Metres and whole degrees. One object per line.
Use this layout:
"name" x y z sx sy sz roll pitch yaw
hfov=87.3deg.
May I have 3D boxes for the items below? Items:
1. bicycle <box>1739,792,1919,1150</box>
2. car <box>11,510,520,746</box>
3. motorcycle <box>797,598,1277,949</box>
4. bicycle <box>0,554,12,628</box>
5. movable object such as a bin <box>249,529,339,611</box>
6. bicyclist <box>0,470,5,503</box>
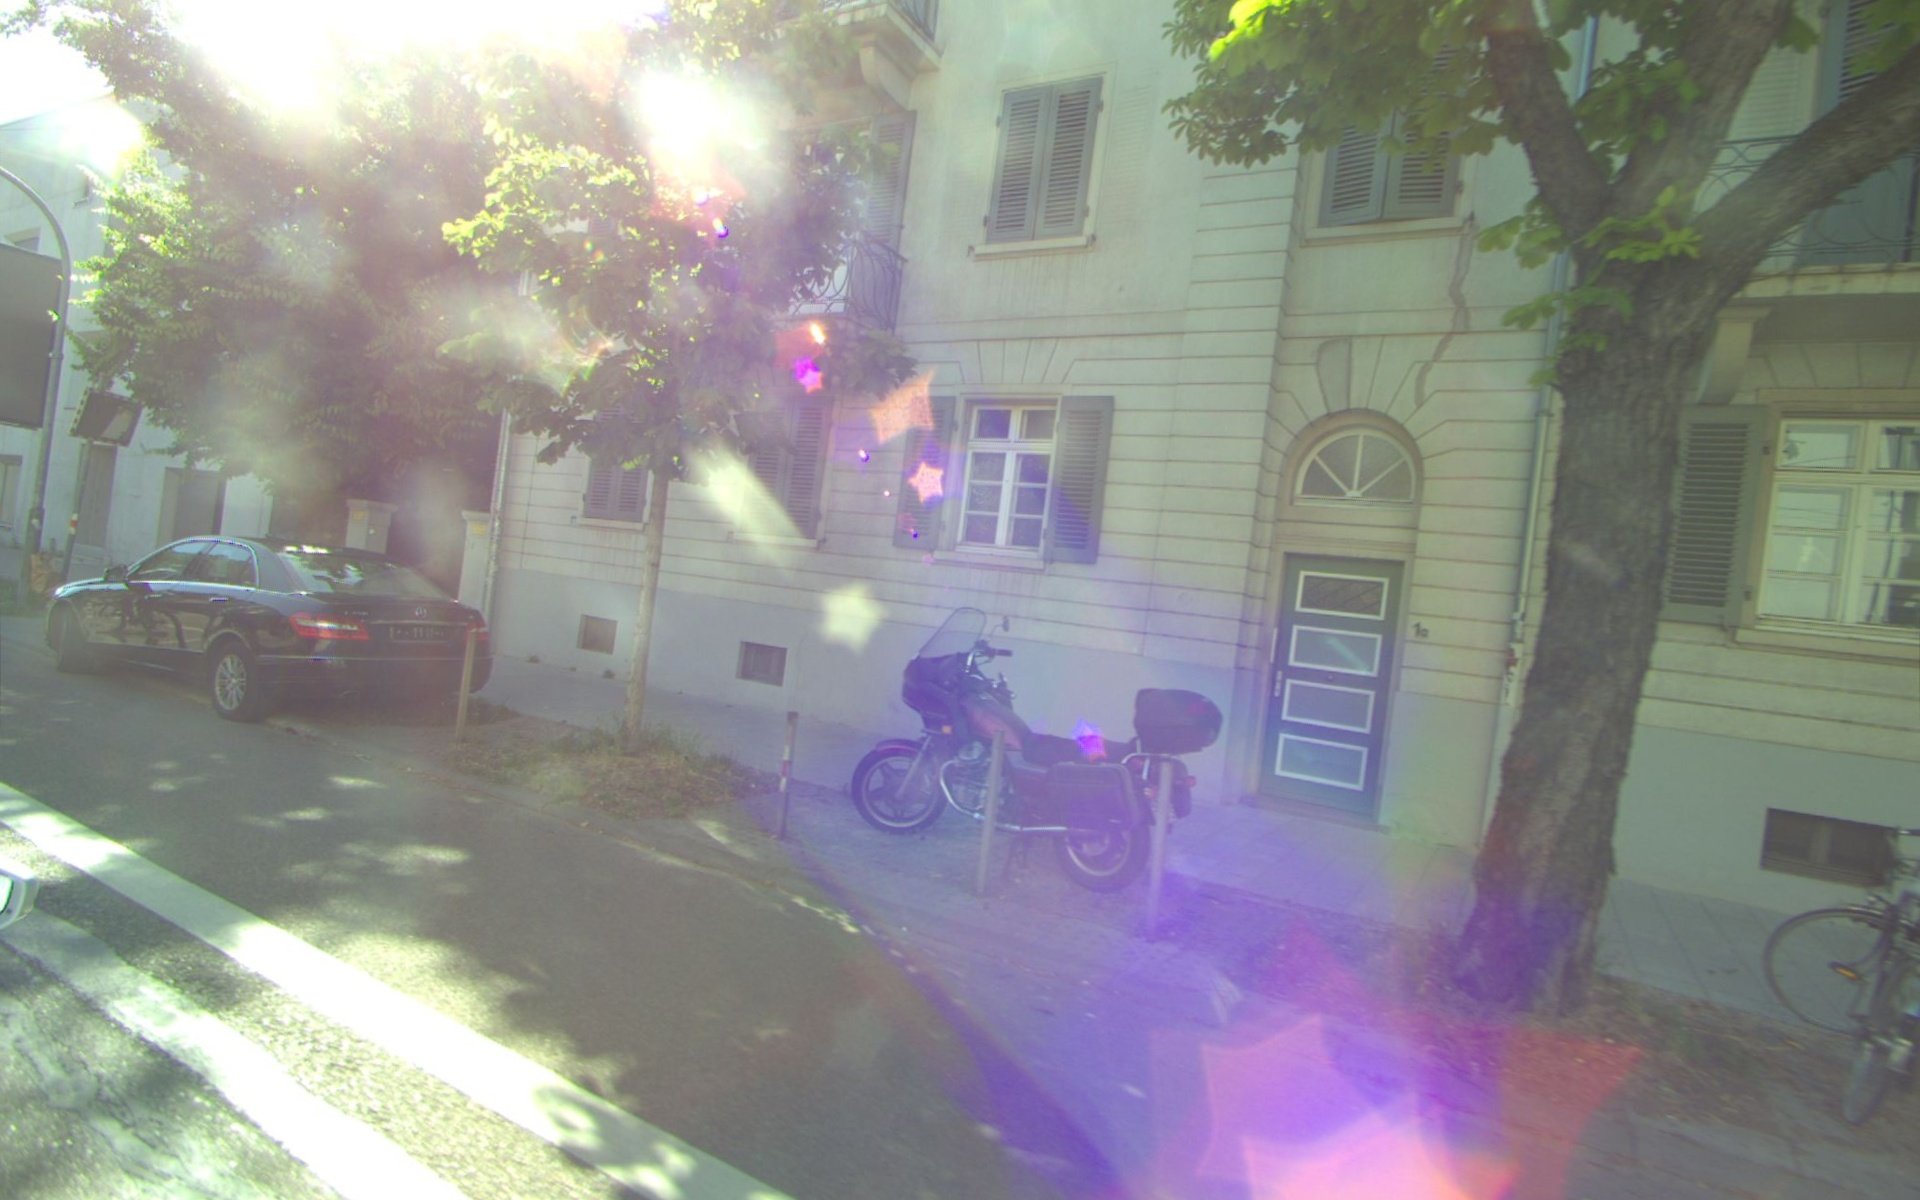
"bicycle" 3.878 1.473 4.218 0.674 1.056 1.621 7 0 31
"car" -6.568 0.171 9.411 4.734 1.476 1.825 7 0 27
"motorcycle" 0.388 0.889 6.079 2.635 1.507 0.914 6 1 32
"bicycle" -9.374 0.023 8.972 2.076 1.106 0.740 7 -3 33
"movable object such as a bin" -13.805 -0.617 20.856 1.333 1.480 0.935 7 -1 32
"bicyclist" -9.303 -0.407 8.976 0.956 1.704 0.740 7 -2 32
